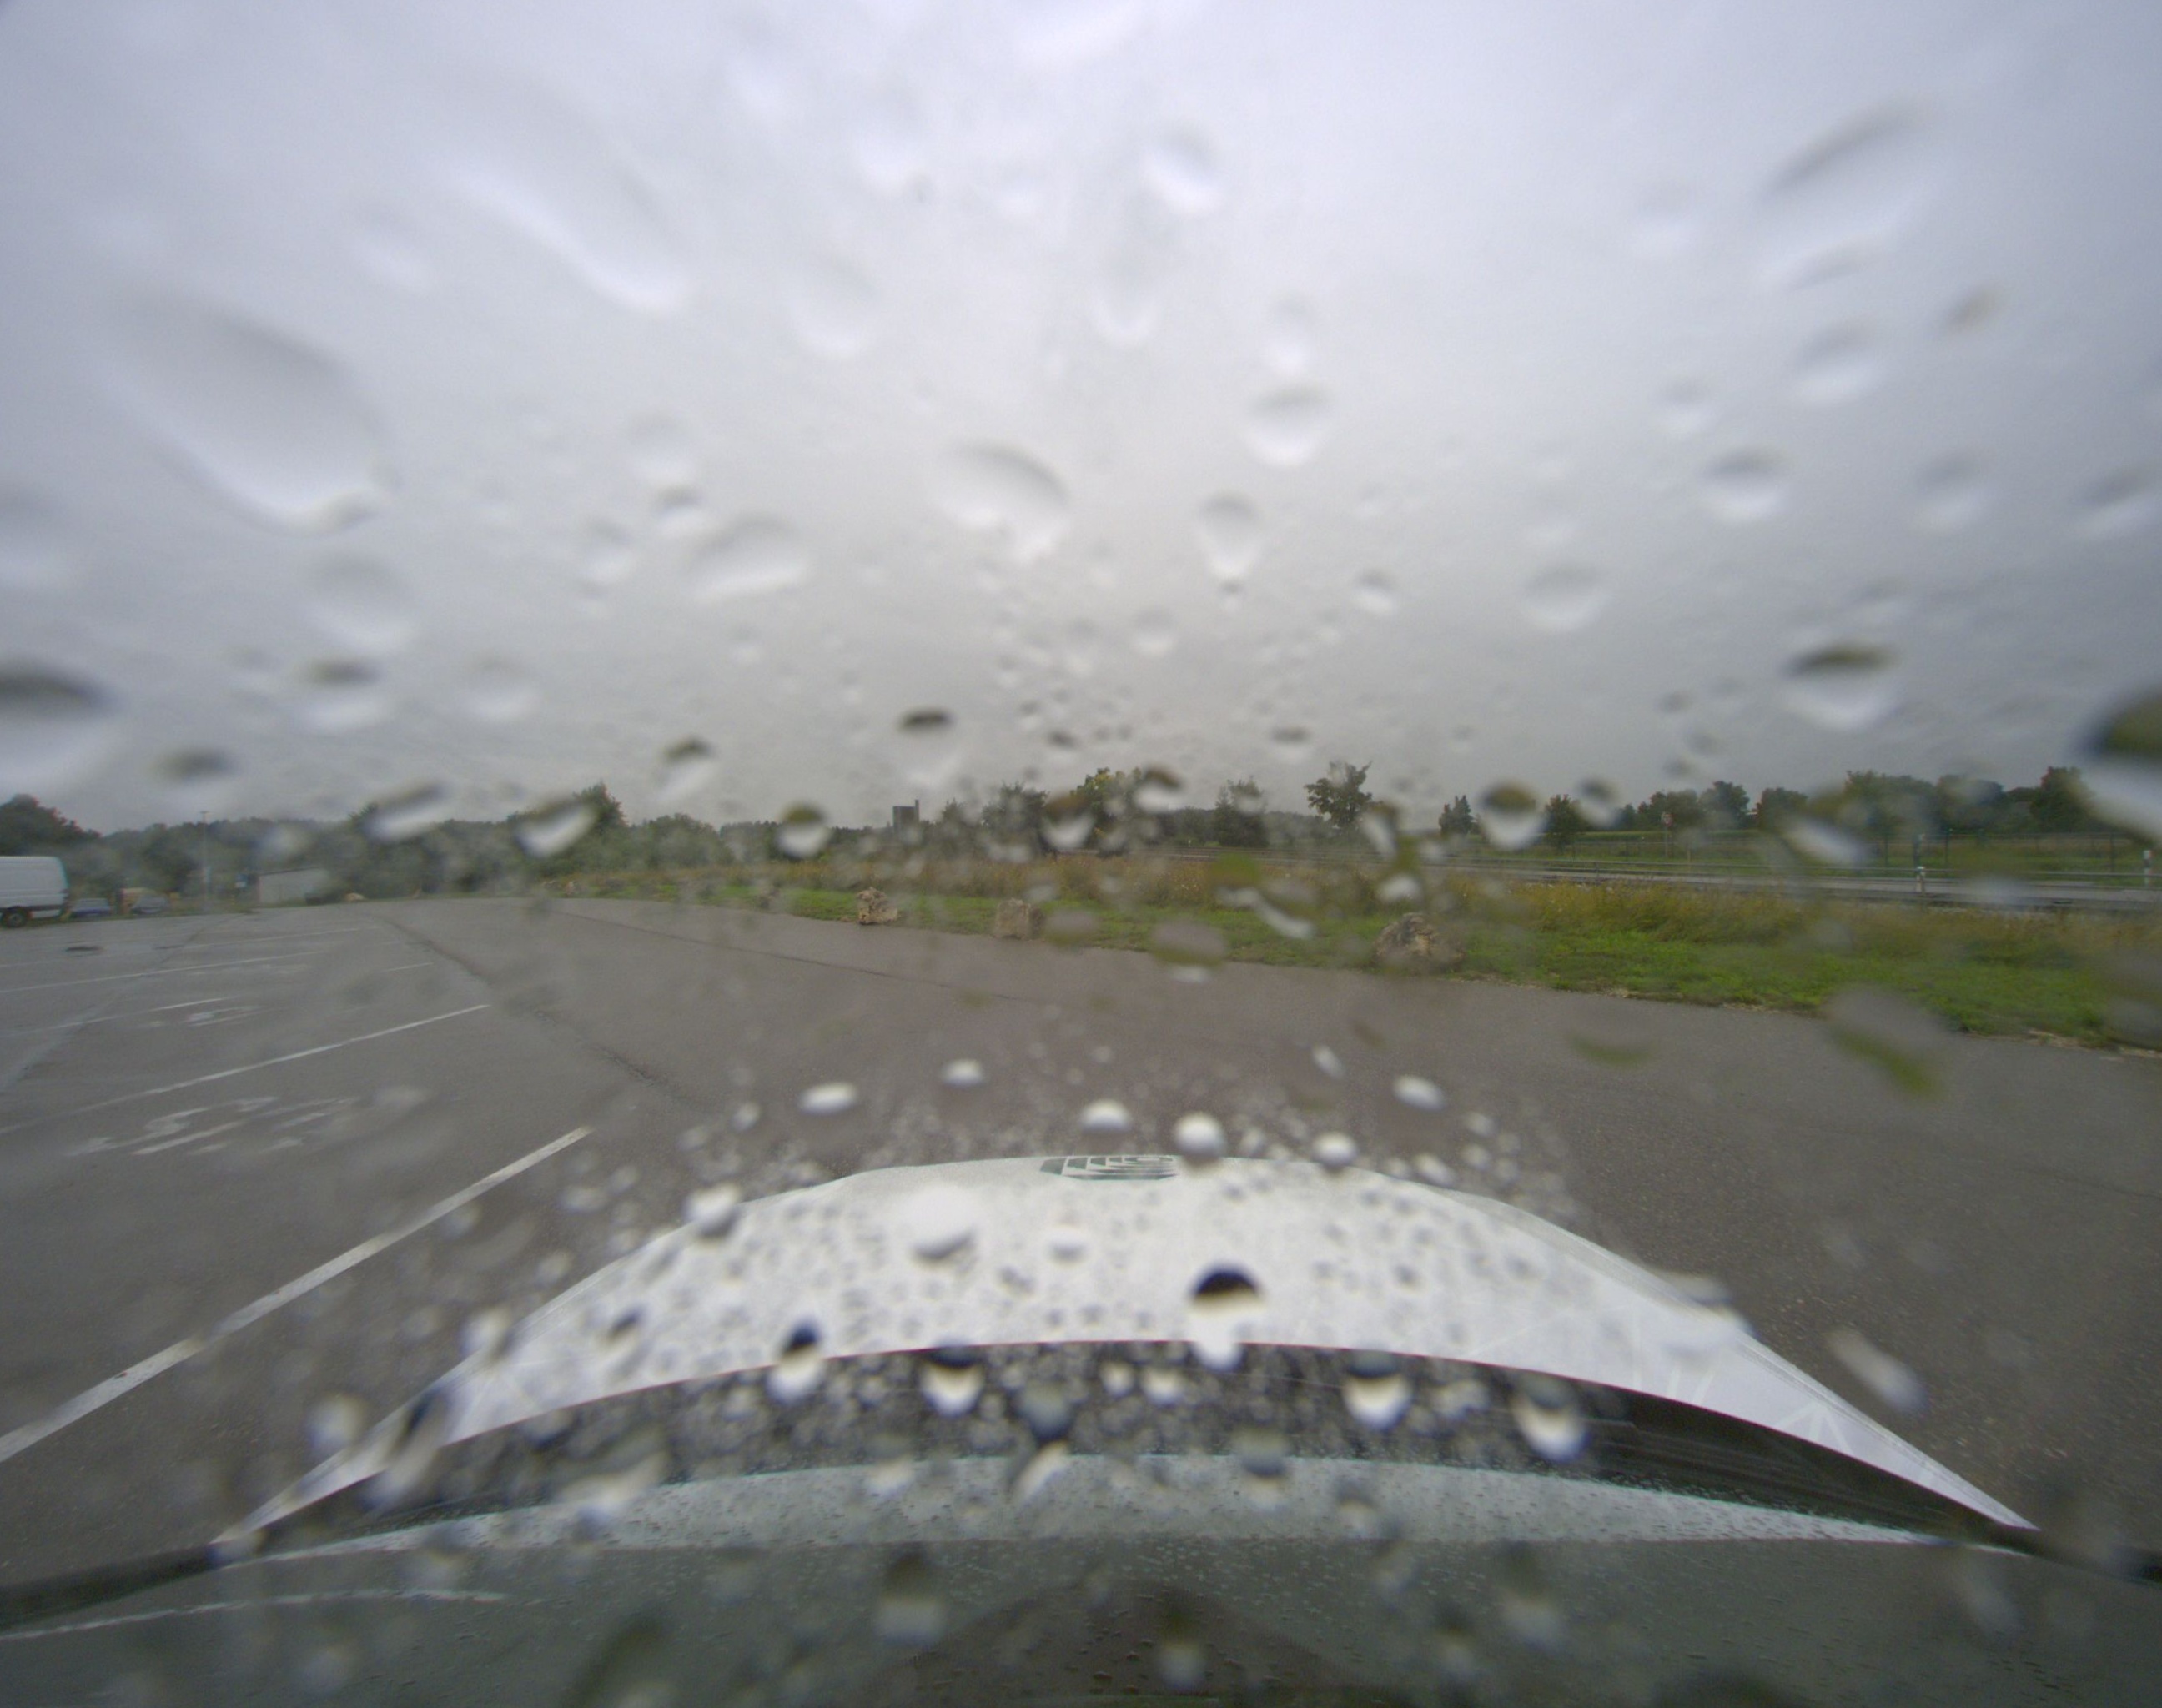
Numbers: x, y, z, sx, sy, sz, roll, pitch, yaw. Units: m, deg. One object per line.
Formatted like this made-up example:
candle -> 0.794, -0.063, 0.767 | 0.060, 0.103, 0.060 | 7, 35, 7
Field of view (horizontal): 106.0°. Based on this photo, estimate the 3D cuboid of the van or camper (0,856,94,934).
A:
van or camper -> -39.283, 1.461, 27.975 | 1.986, 2.715, 7.071 | 1, 0, 2

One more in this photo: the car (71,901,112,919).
car -> -69.288, 3.889, 57.049 | 3.719, 1.000, 1.720 | -1, 0, 41

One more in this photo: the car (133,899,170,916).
car -> -67.411, 3.851, 59.054 | 3.719, 1.000, 1.720 | -1, 0, 41
